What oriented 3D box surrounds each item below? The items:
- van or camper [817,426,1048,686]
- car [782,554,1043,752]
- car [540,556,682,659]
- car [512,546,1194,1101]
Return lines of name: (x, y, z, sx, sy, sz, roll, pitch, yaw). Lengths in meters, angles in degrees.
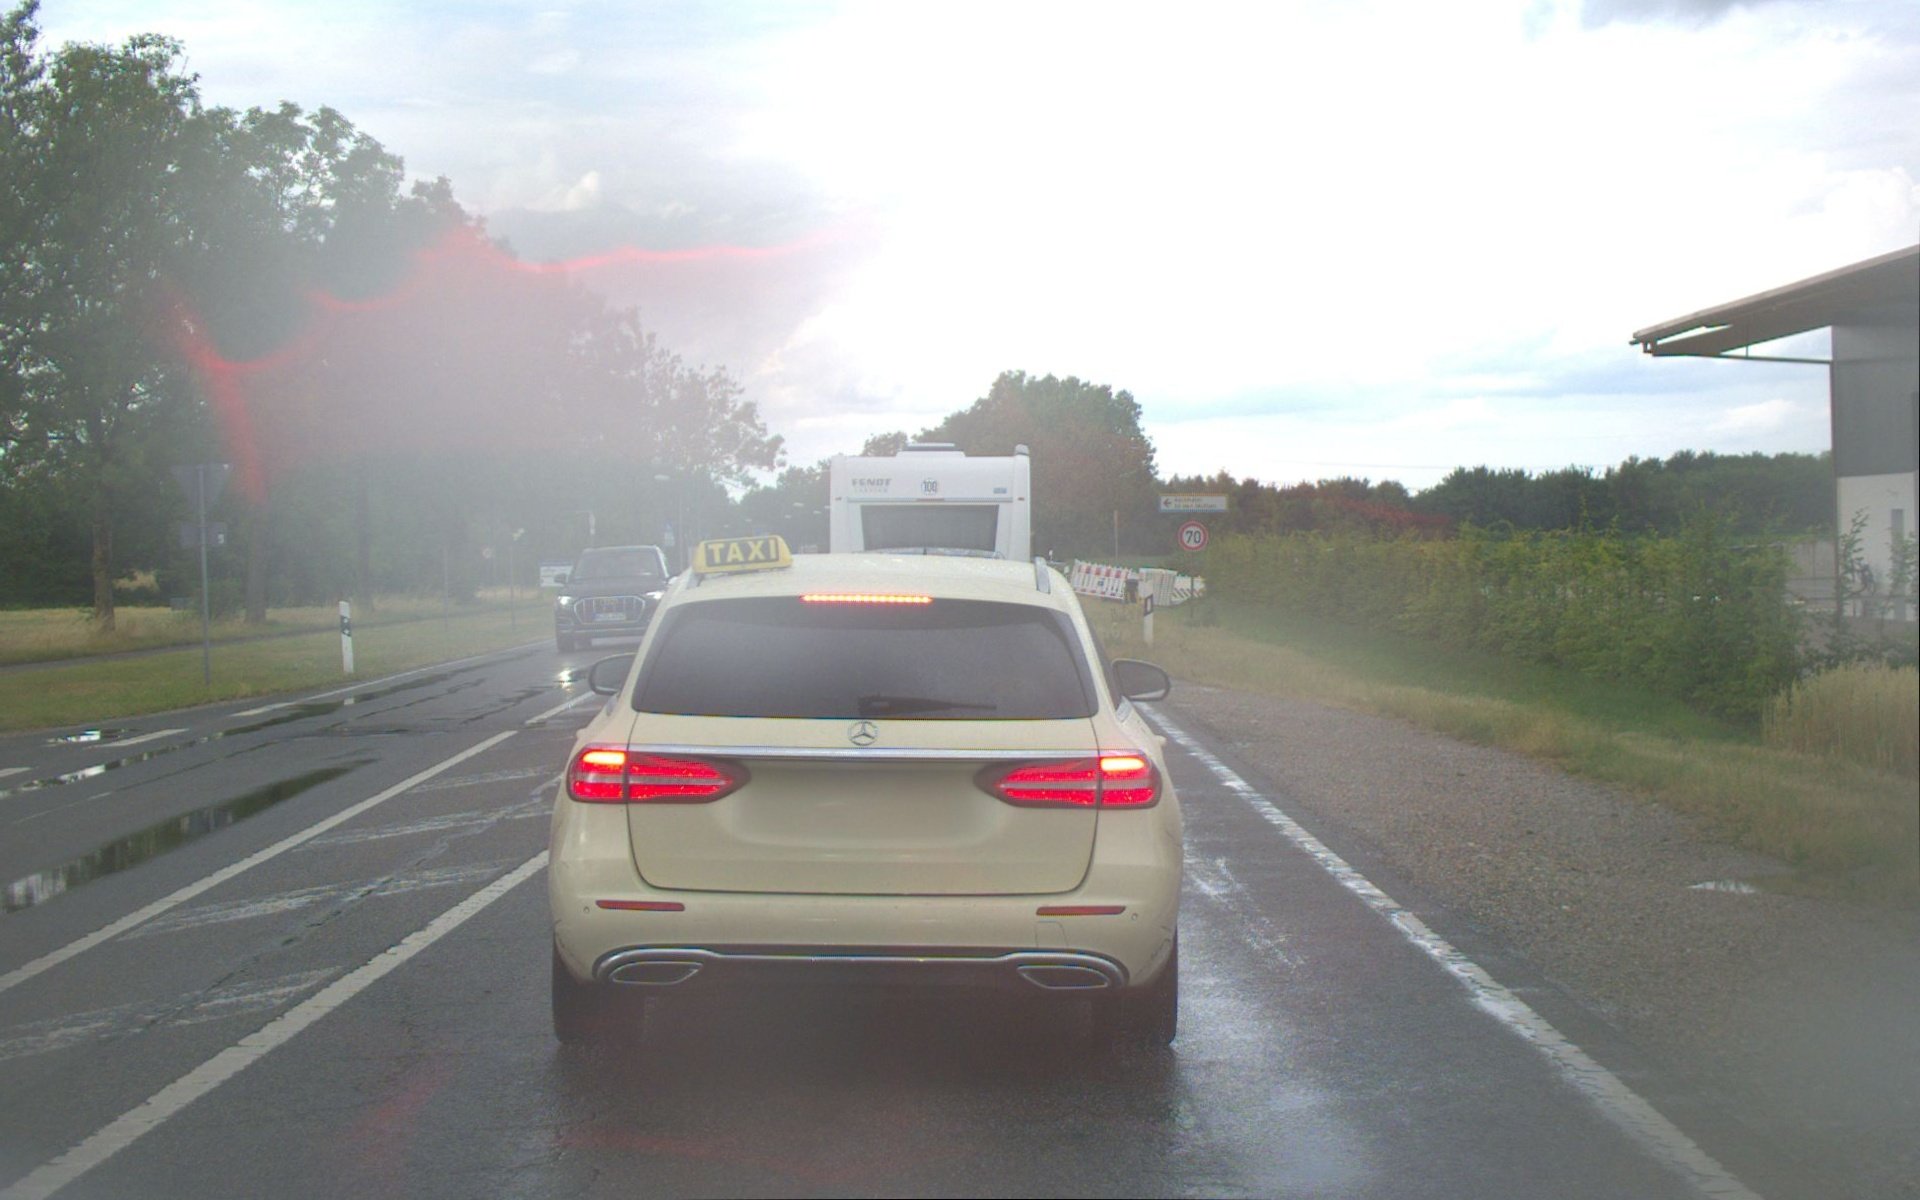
van or camper: (-0.279, -0.536, 41.340, 2.497, 2.821, 5.934, -2, 1, 1)
car: (-0.375, 0.357, 26.913, 1.894, 1.424, 3.928, 0, 1, -1)
car: (-5.699, 0.093, 56.550, 1.916, 1.626, 4.357, 0, 1, 0)
car: (-0.278, 0.559, 11.080, 1.797, 1.459, 4.031, 0, 1, 0)
